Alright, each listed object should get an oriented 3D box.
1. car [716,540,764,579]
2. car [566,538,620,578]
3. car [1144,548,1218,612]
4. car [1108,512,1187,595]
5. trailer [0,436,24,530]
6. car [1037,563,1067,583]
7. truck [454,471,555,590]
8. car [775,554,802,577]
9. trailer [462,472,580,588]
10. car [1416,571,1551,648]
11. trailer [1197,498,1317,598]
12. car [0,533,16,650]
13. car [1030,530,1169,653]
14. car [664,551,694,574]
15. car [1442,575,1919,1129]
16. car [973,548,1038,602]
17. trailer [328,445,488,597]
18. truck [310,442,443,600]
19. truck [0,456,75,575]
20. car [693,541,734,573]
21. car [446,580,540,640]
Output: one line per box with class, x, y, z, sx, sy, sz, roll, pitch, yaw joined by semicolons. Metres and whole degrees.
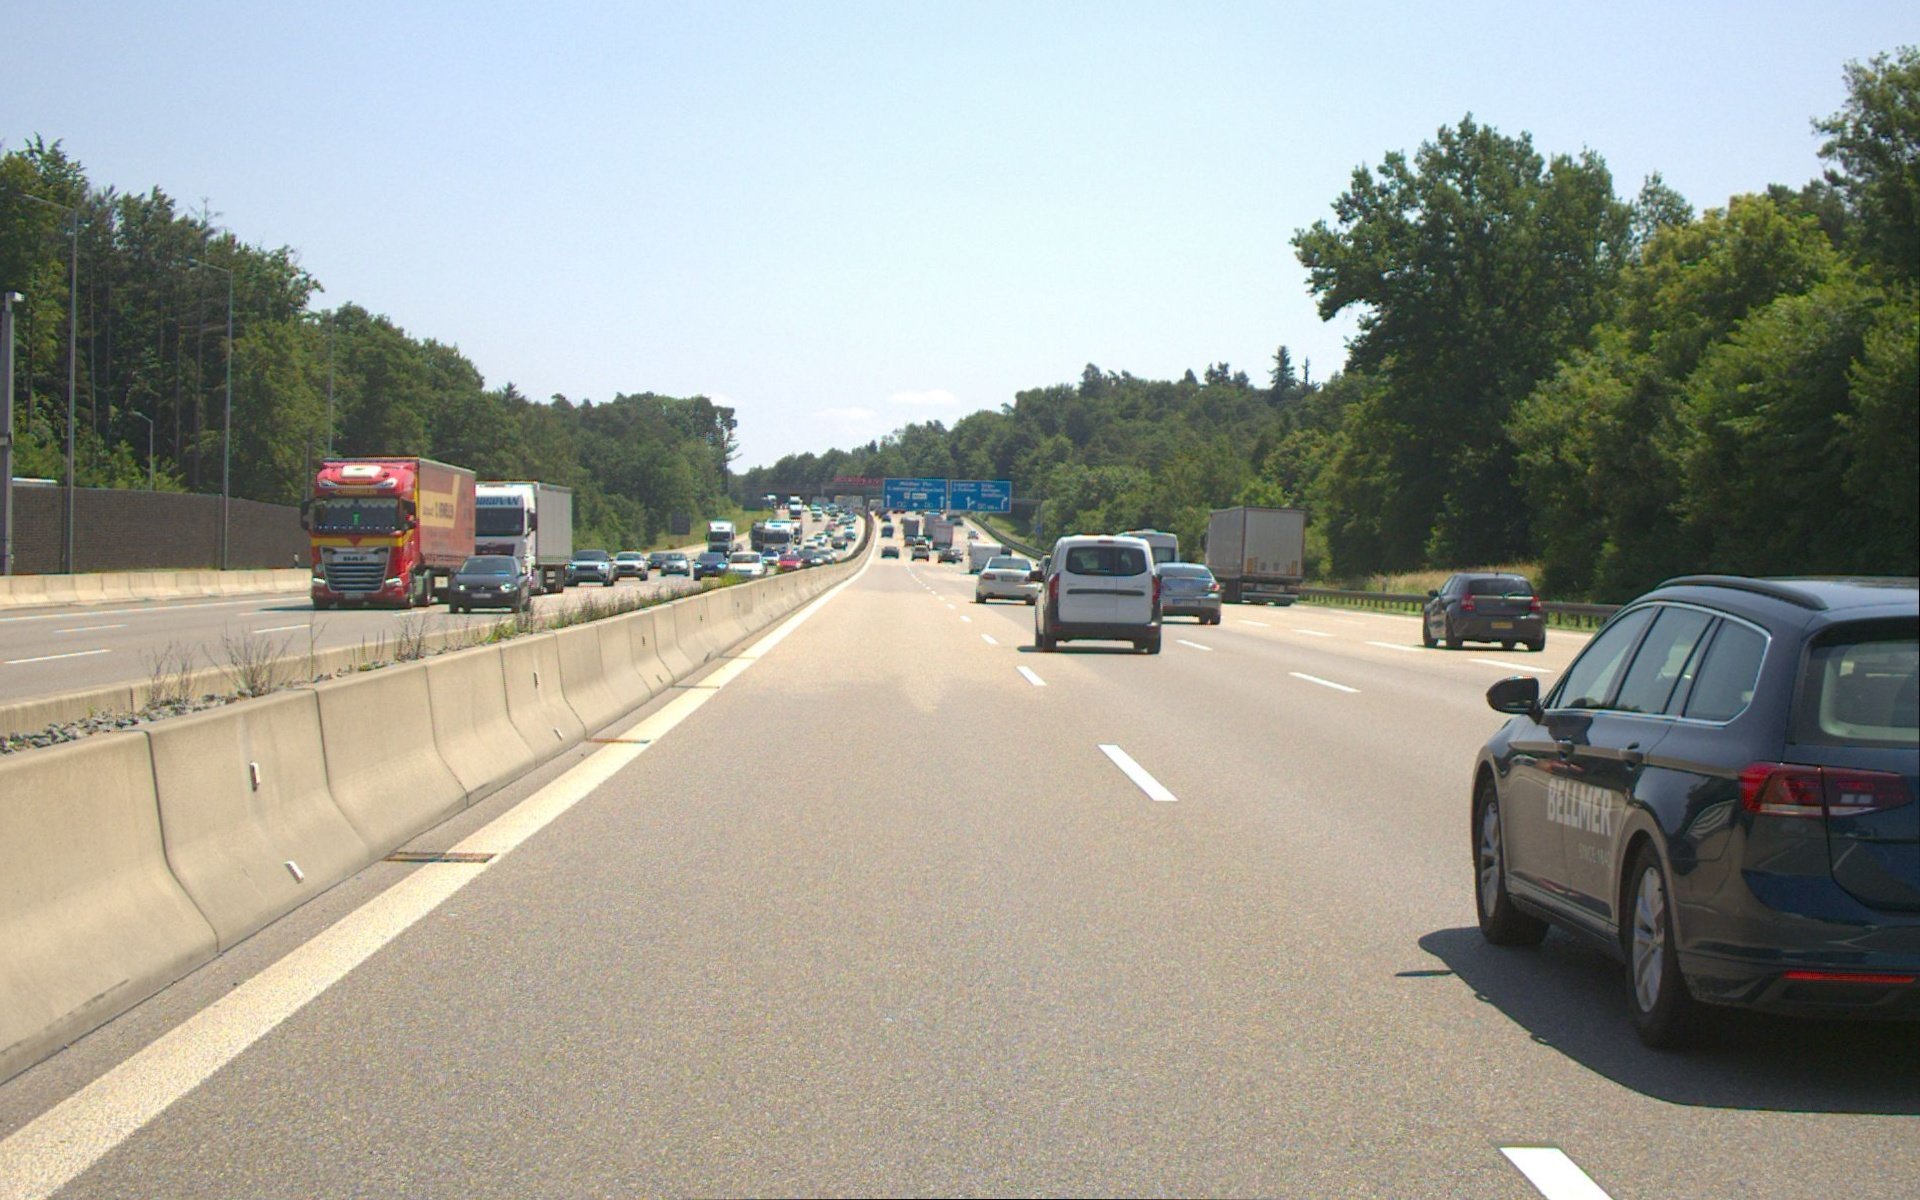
car;-10.275;-1.897;161.094;1.993;1.768;5.039;1;1;-1
car;-16.845;-1.928;158.008;1.993;1.768;5.039;1;1;-1
car;5.266;-0.489;82.303;1.503;1.495;3.650;1;1;0
car;6.289;-1.616;116.144;2.143;2.643;5.710;2;2;-1
trailer;-33.549;-3.914;110.879;2.972;3.113;14.611;1;1;-1
car;6.181;-1.814;231.472;1.835;1.333;3.643;1;1;-1
truck;-15.907;-2.392;120.454;2.734;4.017;6.782;1;1;-1
car;-11.998;-2.429;240.723;1.730;1.508;5.045;1;1;-1
trailer;-16.063;-2.542;126.889;2.754;3.987;14.468;1;1;-1
car;9.515;0.148;62.740;1.670;1.269;4.290;2;1;-1
trailer;12.576;-2.323;147.033;3.287;3.917;13.892;3;2;-2
car;-14.605;-0.101;47.366;1.993;1.665;4.612;0;1;-1
car;2.149;-0.164;54.145;1.859;1.819;4.612;1;1;-2
car;-18.671;-2.511;228.624;1.730;1.508;4.171;1;1;-1
car;2.878;0.660;11.698;1.729;1.442;4.961;0;1;-1
car;1.386;-0.790;106.541;1.843;1.623;4.554;1;1;-1
trailer;-15.775;-2.226;99.257;2.571;4.036;14.183;1;1;-1
truck;-15.601;-2.098;92.299;2.527;4.035;6.473;1;1;-1
truck;-49.841;-4.090;161.421;3.449;5.593;16.667;2;1;44
car;-14.040;-2.462;196.162;1.993;1.768;5.924;1;1;-1
car;-11.631;0.224;85.835;1.821;1.382;4.316;1;1;-1
